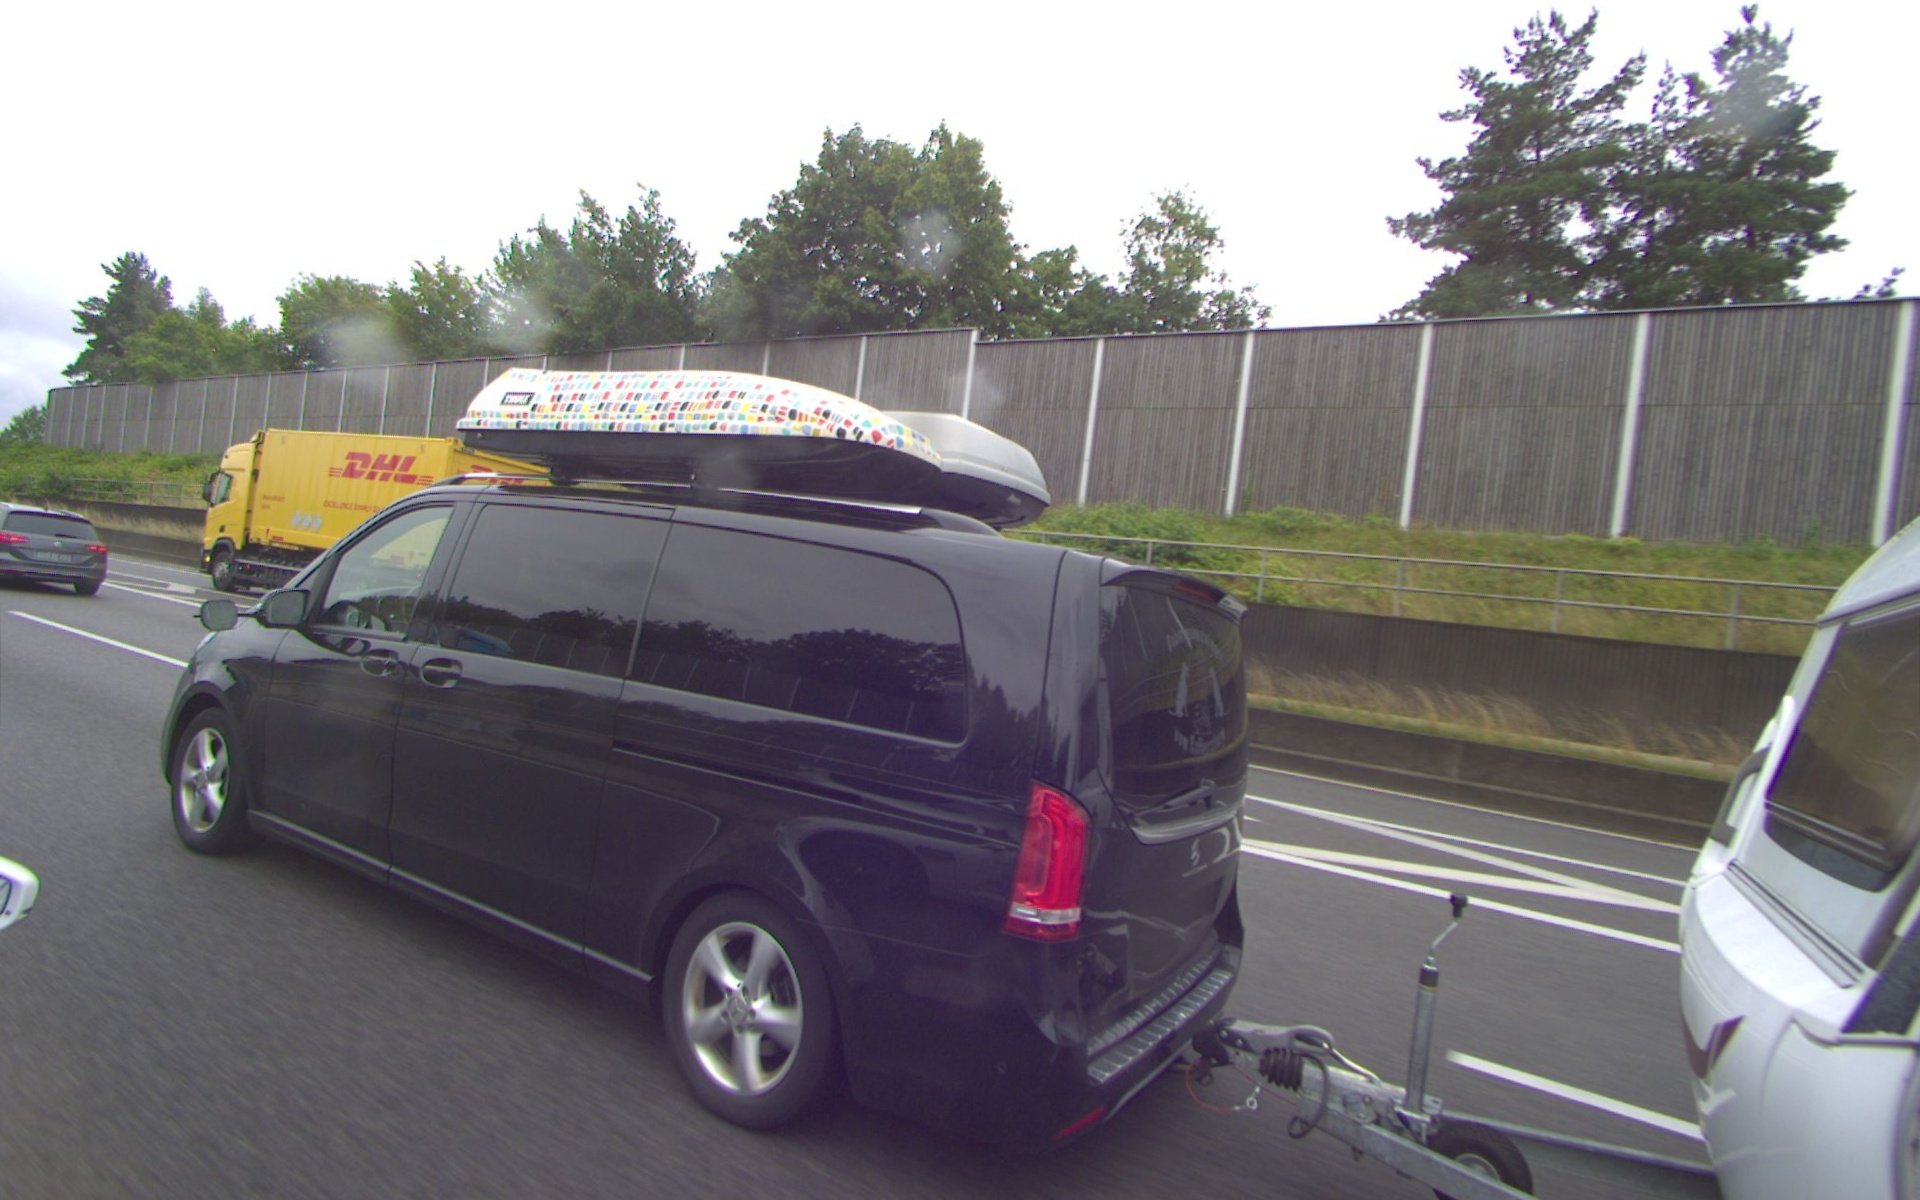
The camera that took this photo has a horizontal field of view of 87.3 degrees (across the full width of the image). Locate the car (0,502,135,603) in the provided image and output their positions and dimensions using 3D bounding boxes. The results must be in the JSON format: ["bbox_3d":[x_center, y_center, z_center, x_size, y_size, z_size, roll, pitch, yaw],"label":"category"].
[{"bbox_3d":[-17.316,-1.035,18.266,5.201,1.443,1.944,7,-2,32],"label":"car"}]

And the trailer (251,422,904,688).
[{"bbox_3d":[-8.892,-1.335,20.793,16.407,3.998,2.657,6,-2,31],"label":"trailer"}]

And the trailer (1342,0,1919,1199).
[{"bbox_3d":[4.581,0.767,0.998,7.386,2.673,2.726,7,-1,32],"label":"trailer"}]

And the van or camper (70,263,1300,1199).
[{"bbox_3d":[-1.648,0.202,4.591,5.585,2.296,1.894,6,-2,32],"label":"van or camper"}]

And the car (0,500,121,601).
[{"bbox_3d":[-17.080,-1.001,18.030,4.396,1.473,1.667,6,-2,31],"label":"car"}]

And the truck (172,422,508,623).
[{"bbox_3d":[-15.381,-2.023,24.657,9.170,4.003,2.692,6,-2,31],"label":"truck"}]
